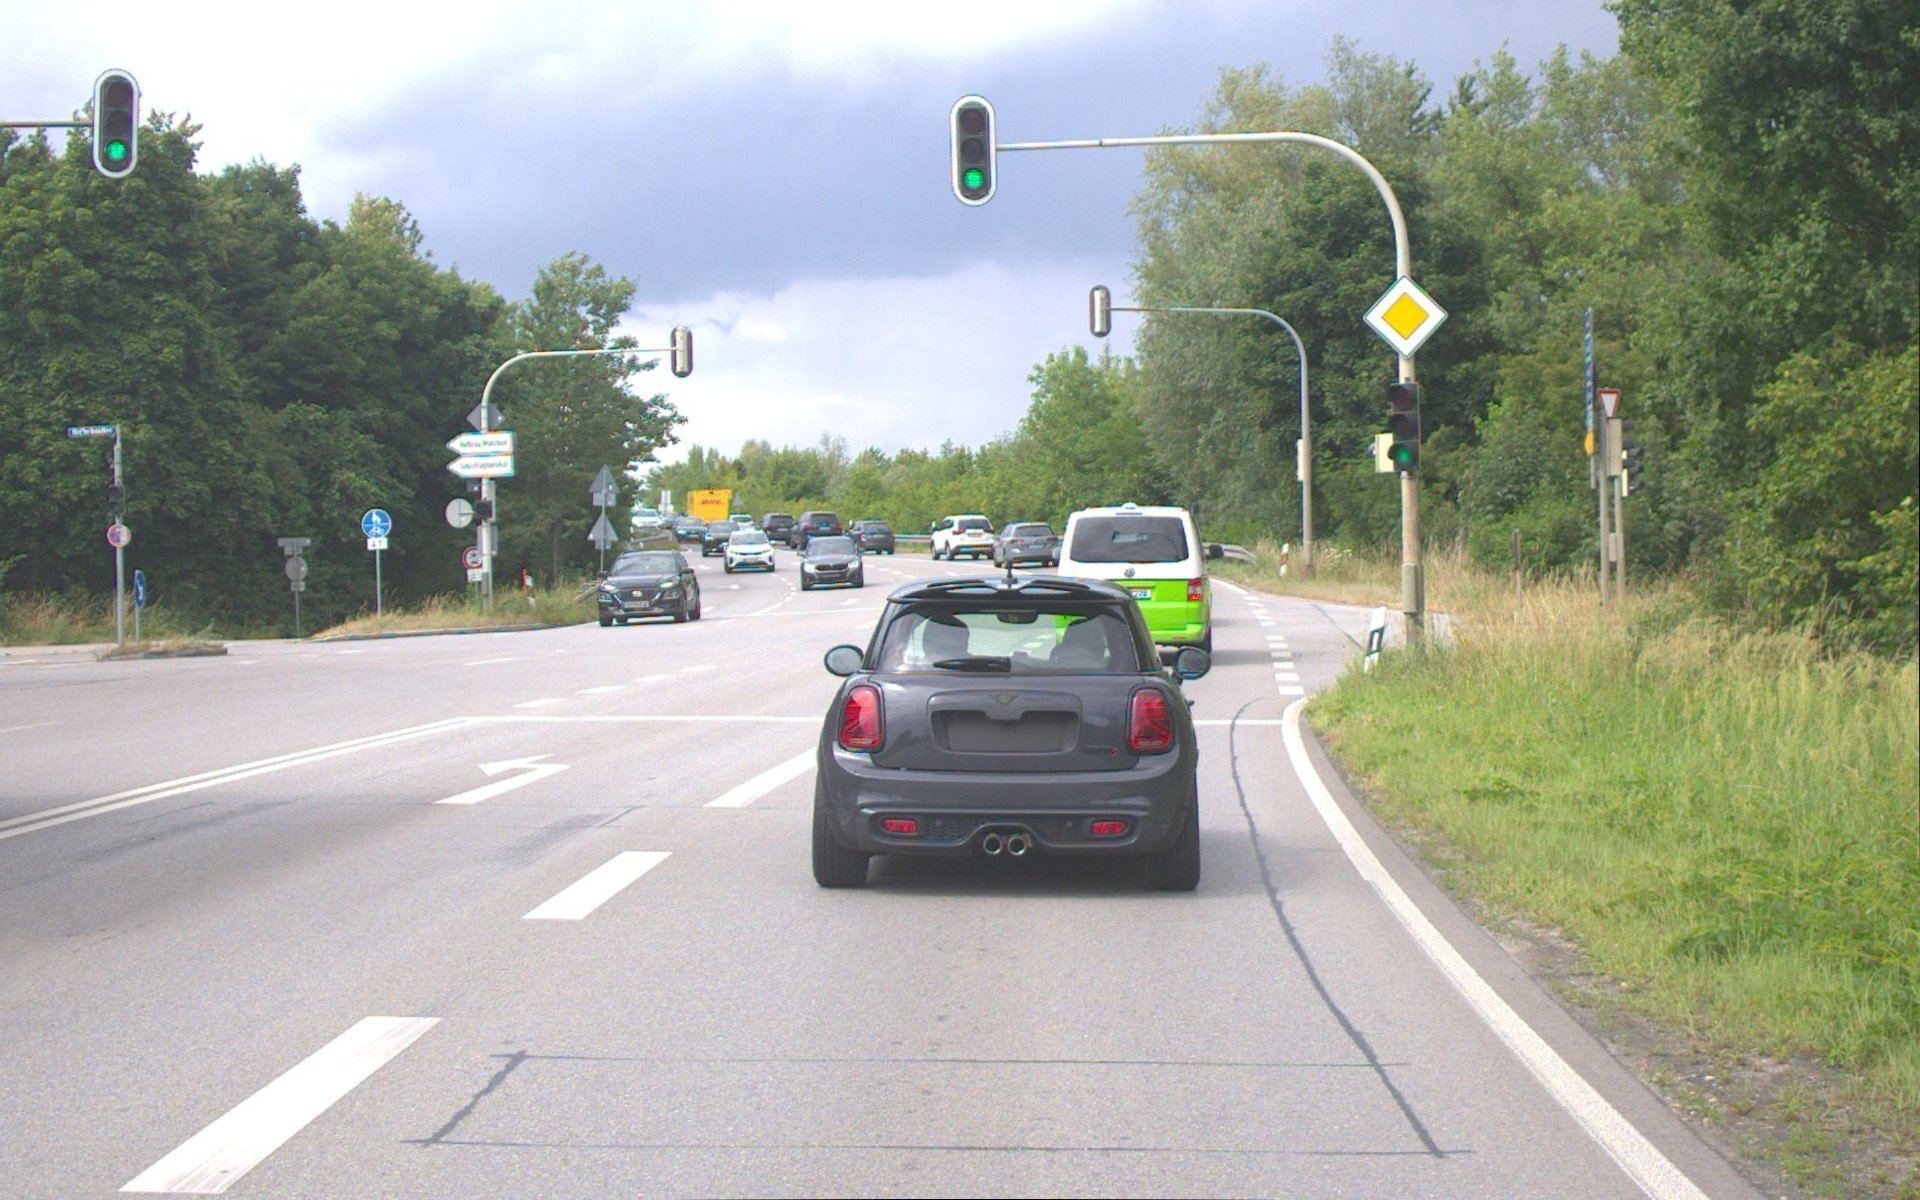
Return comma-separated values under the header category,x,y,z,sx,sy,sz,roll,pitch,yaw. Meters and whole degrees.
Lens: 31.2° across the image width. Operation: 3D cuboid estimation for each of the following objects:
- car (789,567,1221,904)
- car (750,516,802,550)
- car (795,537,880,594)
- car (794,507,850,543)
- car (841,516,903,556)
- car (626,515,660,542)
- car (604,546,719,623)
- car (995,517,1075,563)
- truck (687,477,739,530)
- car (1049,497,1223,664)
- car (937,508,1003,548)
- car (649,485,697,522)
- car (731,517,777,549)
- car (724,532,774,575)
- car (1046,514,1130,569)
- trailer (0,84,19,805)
category,x,y,z,sx,sy,sz,roll,pitch,yaw
car,0.214,0.563,16.682,1.845,1.423,3.841,0,1,1
car,-9.651,-3.487,179.599,1.993,1.690,4.487,0,1,-12
car,-3.552,-1.023,100.731,1.788,1.525,4.902,-3,1,6
car,-6.563,-3.537,162.901,1.993,1.690,4.487,0,1,-10
car,-3.805,-2.771,148.734,1.993,1.690,4.487,0,1,-10
car,-20.100,-4.555,217.702,1.993,1.607,4.001,-1,2,-7
car,-6.307,-0.349,73.083,1.791,1.568,4.000,-1,1,4
car,2.424,-1.954,112.377,1.993,1.471,4.487,0,1,-7
truck,-15.545,-6.011,215.677,2.716,2.888,8.772,0,-1,-8
car,2.267,-0.295,43.448,1.845,1.980,3.840,0,2,8
car,0.352,-2.720,130.062,1.993,1.471,4.486,0,1,-6
car,-13.515,-4.536,161.537,1.993,1.684,4.001,-1,2,-8
car,-11.939,-3.881,198.884,1.993,1.781,4.487,0,1,-12
car,-7.674,-1.727,125.350,1.729,1.499,4.347,-1,1,-3
car,3.513,-1.605,94.927,1.993,1.471,4.486,0,1,-2
trailer,-6.795,-0.841,16.465,2.527,4.087,6.735,0,1,2
